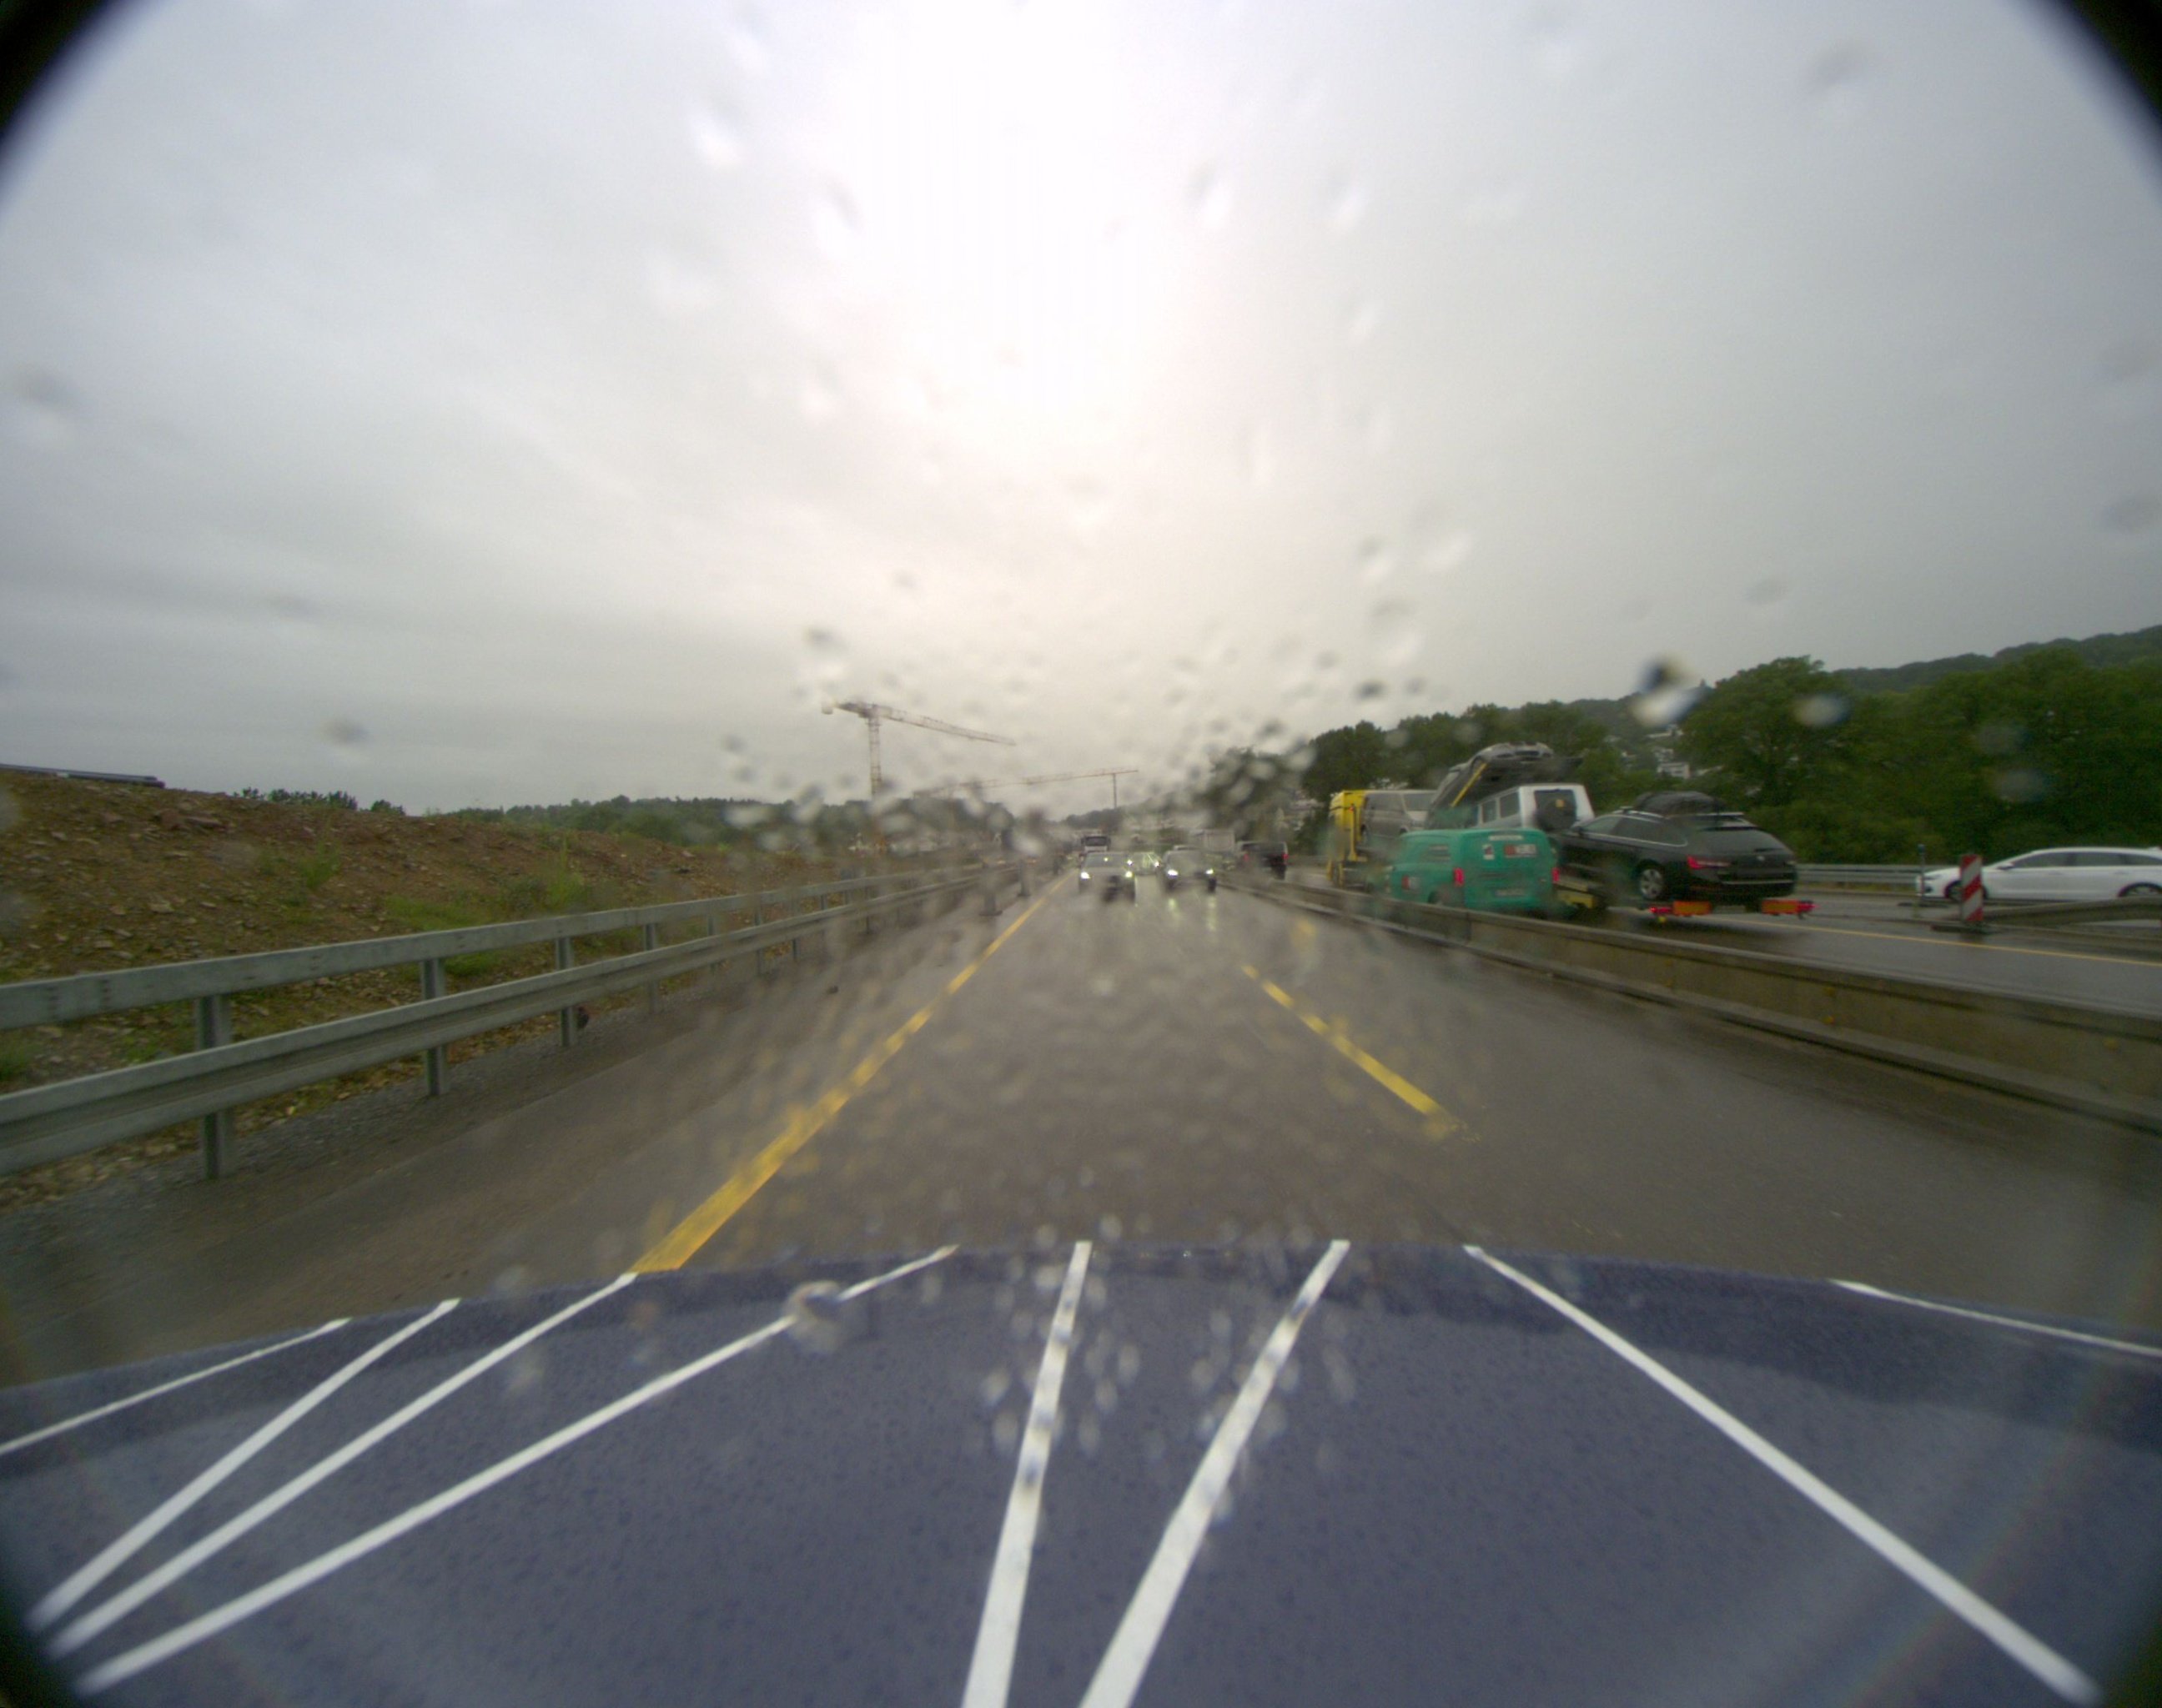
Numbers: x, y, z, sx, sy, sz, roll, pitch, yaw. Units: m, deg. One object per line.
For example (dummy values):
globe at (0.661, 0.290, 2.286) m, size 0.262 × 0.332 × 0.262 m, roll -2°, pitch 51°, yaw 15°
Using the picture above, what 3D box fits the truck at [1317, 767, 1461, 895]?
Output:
truck at (10.865, -0.757, 27.479) m, size 2.756 × 4.038 × 6.147 m, roll -1°, pitch 1°, yaw 1°

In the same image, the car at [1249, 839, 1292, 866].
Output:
car at (15.100, -0.138, 60.862) m, size 2.270 × 2.002 × 5.045 m, roll -1°, pitch 1°, yaw 1°

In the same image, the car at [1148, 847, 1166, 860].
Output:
car at (8.973, -0.061, 90.078) m, size 1.713 × 1.445 × 4.000 m, roll -1°, pitch 0°, yaw 1°

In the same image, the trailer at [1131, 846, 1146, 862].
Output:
trailer at (14.582, -0.037, 194.122) m, size 3.285 × 3.885 × 13.701 m, roll -1°, pitch 0°, yaw 2°

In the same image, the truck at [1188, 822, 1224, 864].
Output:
truck at (11.959, -1.070, 72.953) m, size 2.692 × 3.904 × 5.273 m, roll 0°, pitch 1°, yaw 1°

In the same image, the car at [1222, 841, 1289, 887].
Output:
car at (7.413, 0.371, 32.745) m, size 1.791 × 1.795 × 5.189 m, roll 0°, pitch 1°, yaw 1°

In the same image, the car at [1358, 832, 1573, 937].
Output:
car at (7.407, 0.521, 15.285) m, size 1.998 × 1.749 × 4.688 m, roll -1°, pitch 0°, yaw 1°

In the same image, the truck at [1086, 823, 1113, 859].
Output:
truck at (1.933, -1.294, 77.860) m, size 2.575 × 3.451 × 6.627 m, roll -1°, pitch 1°, yaw 2°

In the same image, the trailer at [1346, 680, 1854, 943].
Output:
trailer at (10.726, -0.708, 19.451) m, size 2.756 × 4.019 × 15.358 m, roll -1°, pitch 0°, yaw 1°

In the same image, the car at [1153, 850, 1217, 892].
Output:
car at (3.932, 0.606, 29.374) m, size 1.951 × 1.430 × 4.483 m, roll -1°, pitch 0°, yaw 2°

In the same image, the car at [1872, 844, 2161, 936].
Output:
car at (23.831, 0.827, 19.459) m, size 2.075 × 2.050 × 4.830 m, roll -2°, pitch 1°, yaw -41°

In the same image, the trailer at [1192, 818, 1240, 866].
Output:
trailer at (11.844, -1.020, 67.773) m, size 2.692 × 3.940 × 9.819 m, roll 0°, pitch 1°, yaw 1°

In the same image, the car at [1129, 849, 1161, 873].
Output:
car at (4.005, 0.395, 48.018) m, size 1.781 × 1.430 × 4.483 m, roll -1°, pitch 0°, yaw 2°

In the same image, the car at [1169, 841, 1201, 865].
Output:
car at (8.141, -0.088, 59.801) m, size 1.879 × 1.782 × 5.359 m, roll -1°, pitch 1°, yaw 1°

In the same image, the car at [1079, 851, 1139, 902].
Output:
car at (0.923, 0.672, 25.278) m, size 1.781 × 1.514 × 4.140 m, roll -1°, pitch 1°, yaw 2°
